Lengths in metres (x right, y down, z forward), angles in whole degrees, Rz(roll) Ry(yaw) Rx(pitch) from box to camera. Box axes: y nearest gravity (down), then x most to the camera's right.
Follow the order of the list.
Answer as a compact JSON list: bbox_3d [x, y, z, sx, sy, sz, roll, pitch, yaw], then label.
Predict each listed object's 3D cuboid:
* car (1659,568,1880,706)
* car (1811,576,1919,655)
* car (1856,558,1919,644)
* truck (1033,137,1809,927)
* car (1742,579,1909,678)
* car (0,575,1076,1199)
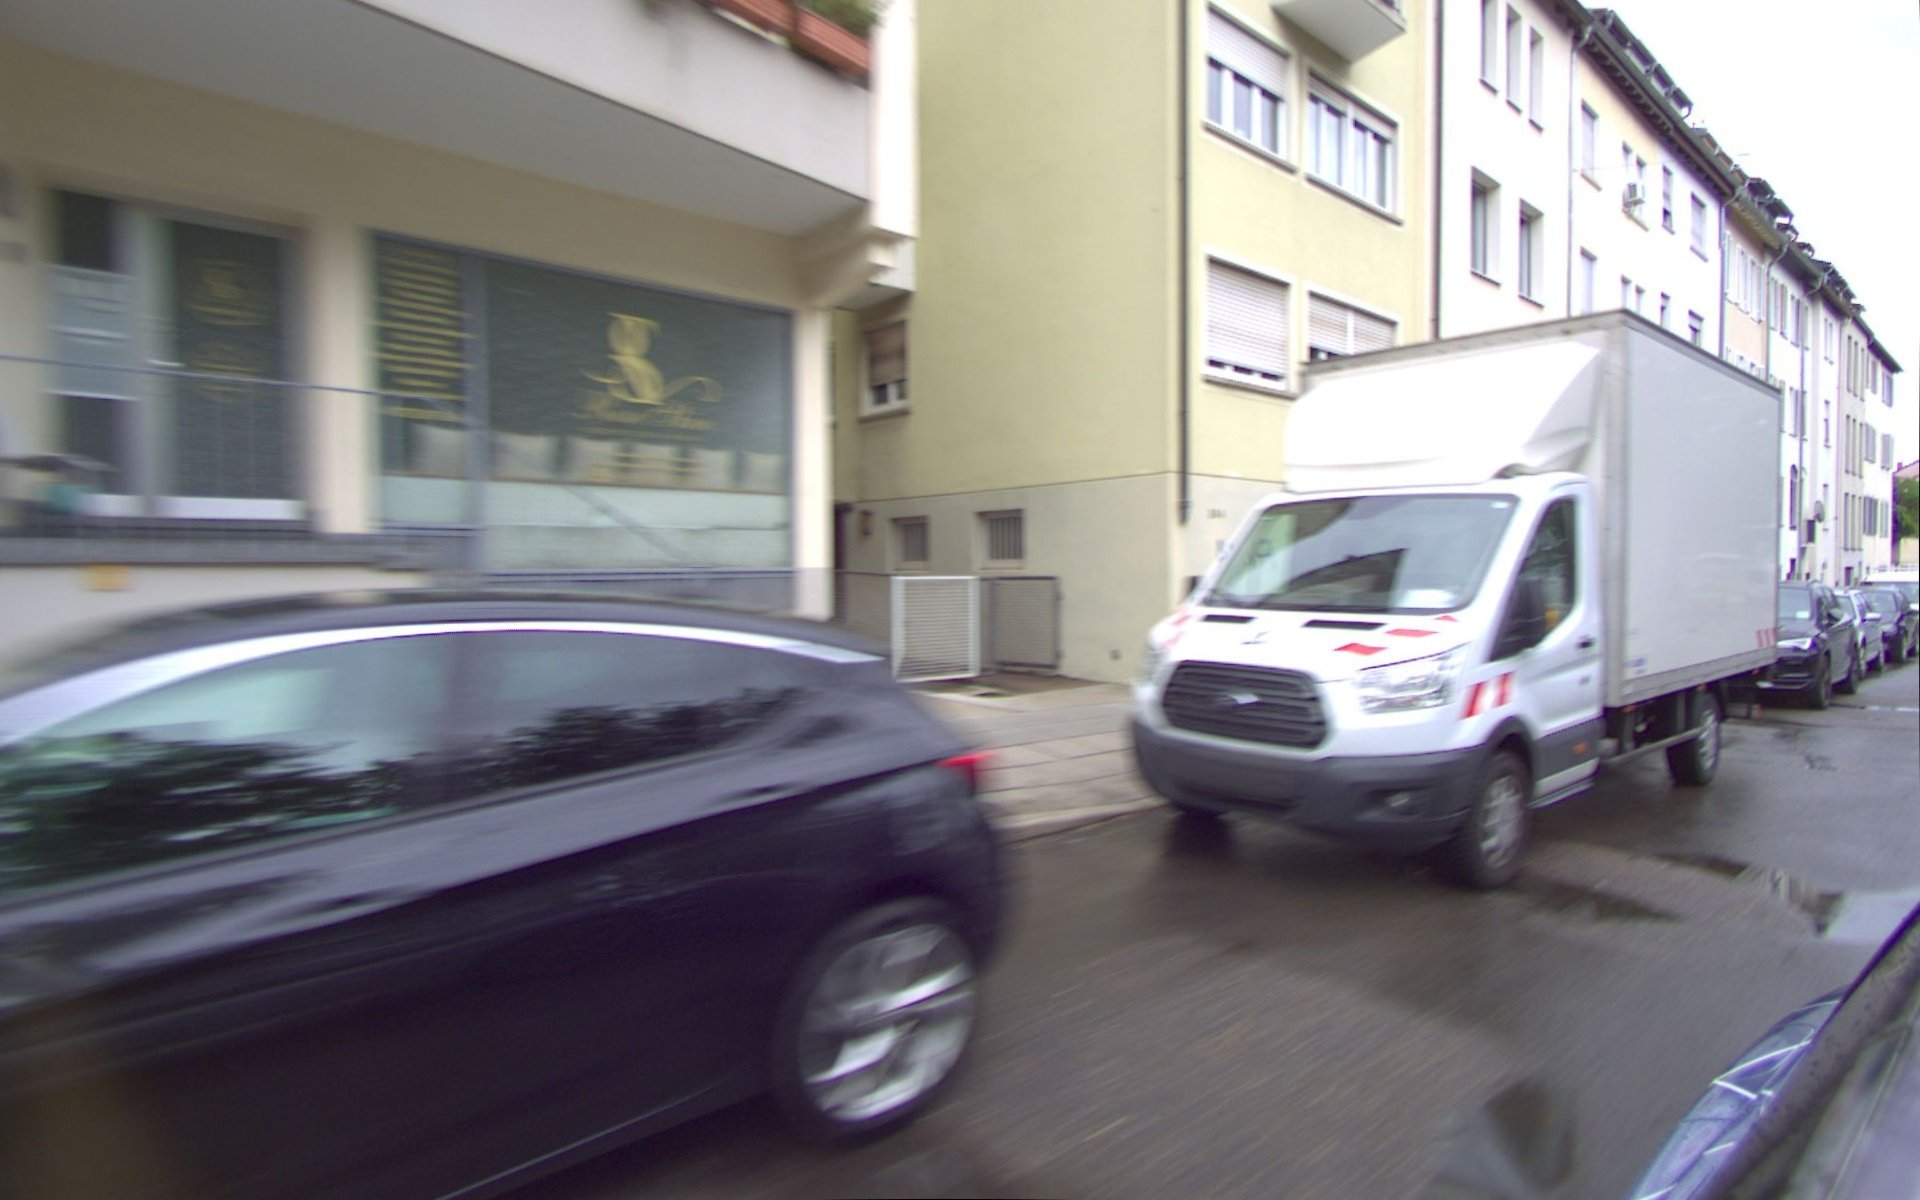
[{"bbox_3d":[11.025,0.413,13.689,4.027,1.593,1.666,0,1,-42],"label":"car"},{"bbox_3d":[18.939,0.281,20.917,3.441,1.489,1.579,0,1,-42],"label":"car"},{"bbox_3d":[23.267,0.023,24.445,4.163,1.948,1.821,0,0,-40],"label":"car"},{"bbox_3d":[3.848,-0.320,7.335,6.913,3.212,2.474,0,1,-41],"label":"truck"},{"bbox_3d":[15.109,0.430,17.598,4.027,1.518,1.666,0,1,-42],"label":"car"},{"bbox_3d":[-1.676,0.667,2.459,3.972,1.439,1.666,0,1,-41],"label":"car"}]
